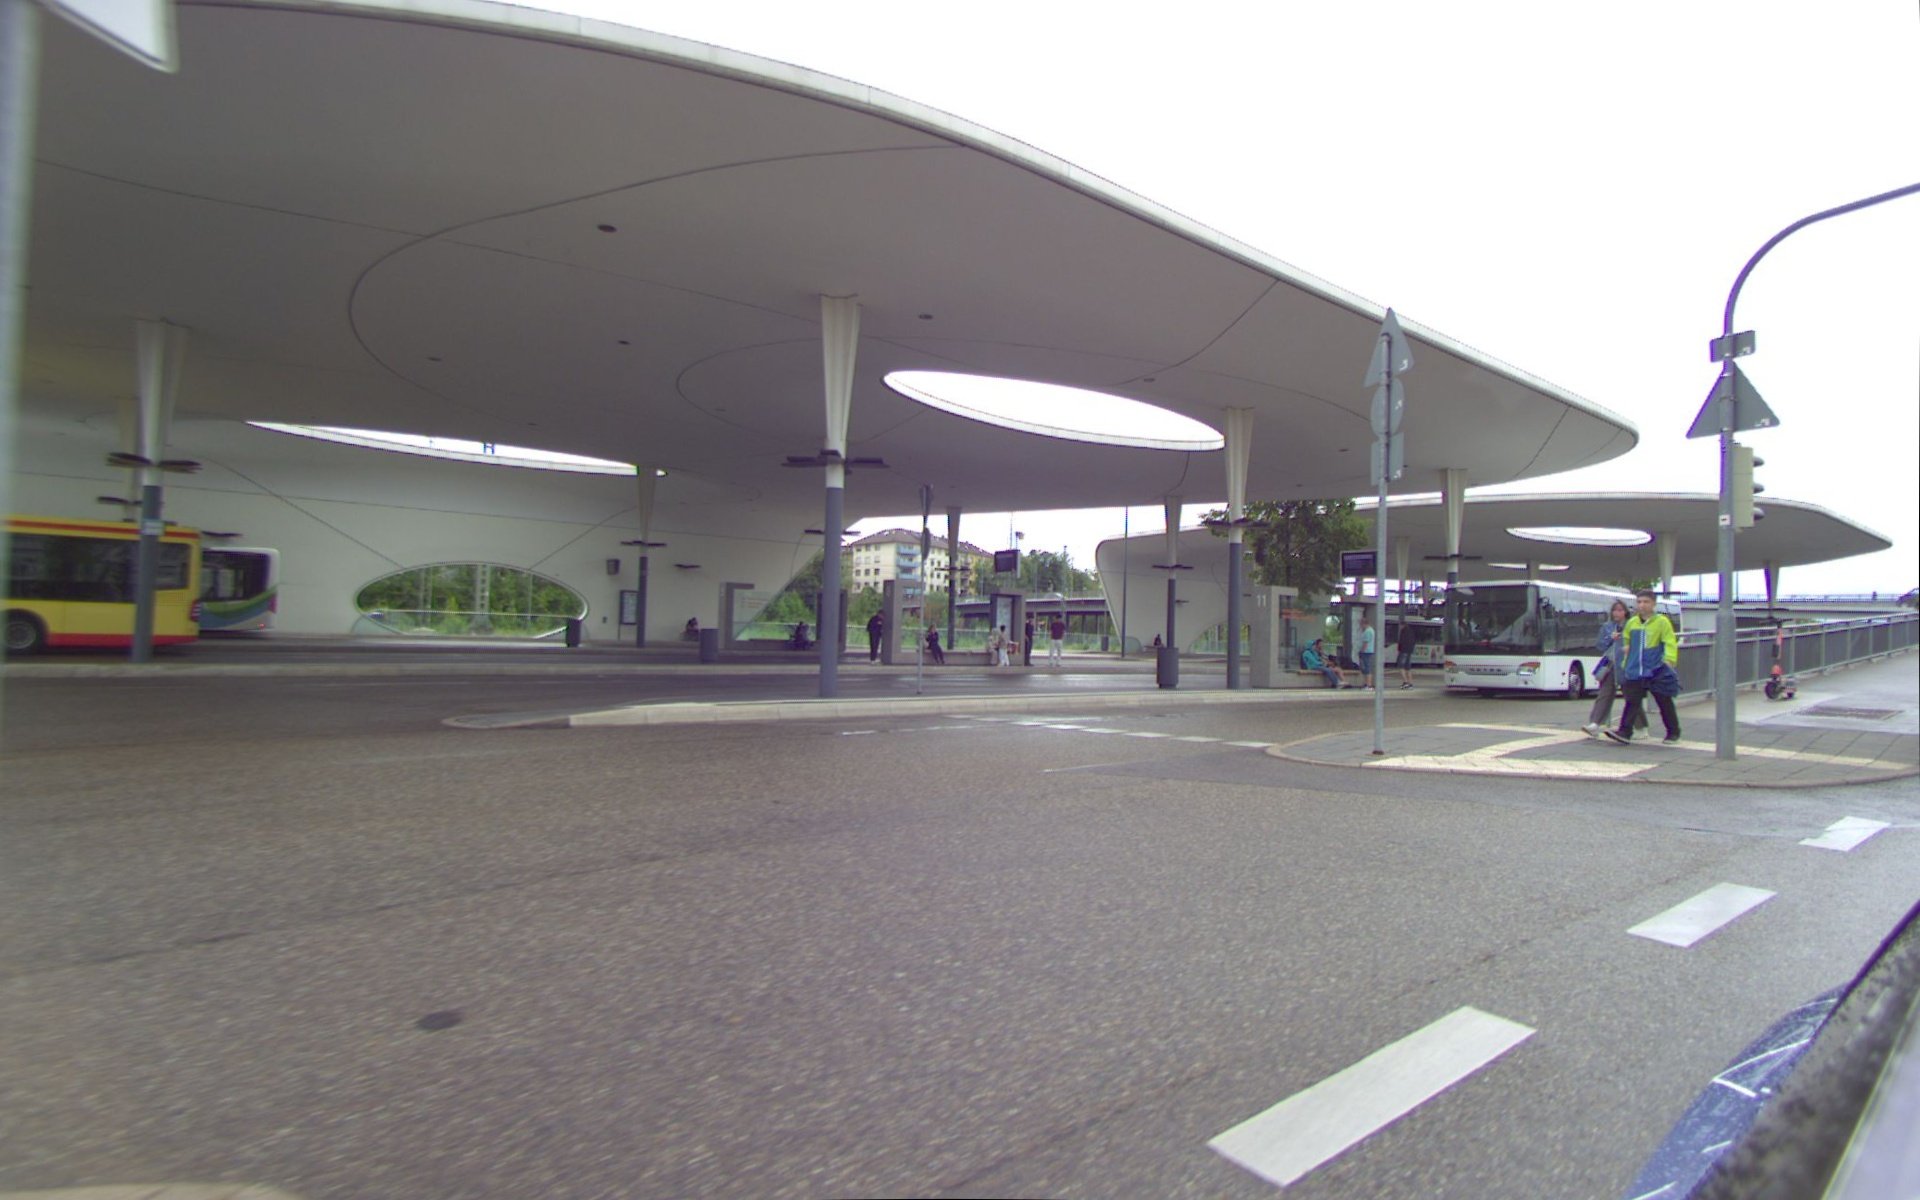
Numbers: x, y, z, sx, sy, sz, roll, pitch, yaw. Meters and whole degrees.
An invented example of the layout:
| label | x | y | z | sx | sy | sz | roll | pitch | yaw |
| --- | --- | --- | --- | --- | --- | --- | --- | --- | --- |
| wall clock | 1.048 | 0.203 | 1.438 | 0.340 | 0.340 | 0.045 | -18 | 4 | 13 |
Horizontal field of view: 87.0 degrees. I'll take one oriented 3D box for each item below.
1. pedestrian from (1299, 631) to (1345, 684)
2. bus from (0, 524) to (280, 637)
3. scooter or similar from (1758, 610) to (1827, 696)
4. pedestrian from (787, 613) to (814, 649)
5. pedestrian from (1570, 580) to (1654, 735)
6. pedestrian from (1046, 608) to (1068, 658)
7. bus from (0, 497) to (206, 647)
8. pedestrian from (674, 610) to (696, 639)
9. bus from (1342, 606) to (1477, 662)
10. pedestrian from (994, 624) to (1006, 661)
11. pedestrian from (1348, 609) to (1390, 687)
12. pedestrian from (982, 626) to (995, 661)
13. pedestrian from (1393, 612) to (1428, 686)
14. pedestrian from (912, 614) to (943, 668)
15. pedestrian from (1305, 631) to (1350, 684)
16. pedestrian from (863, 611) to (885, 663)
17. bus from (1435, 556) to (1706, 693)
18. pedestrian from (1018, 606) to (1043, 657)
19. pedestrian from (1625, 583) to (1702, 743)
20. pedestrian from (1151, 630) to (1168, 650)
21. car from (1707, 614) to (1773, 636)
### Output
| label | x | y | z | sx | sy | sz | roll | pitch | yaw |
| --- | --- | --- | --- | --- | --- | --- | --- | --- | --- |
| pedestrian | 9.305 | 1.471 | 26.004 | 0.944 | 1.271 | 0.642 | 4 | -1 | 28 |
| bus | -28.140 | -0.599 | 31.138 | 11.752 | 3.298 | 2.472 | 1 | 1 | -39 |
| scooter or similar | 12.648 | 0.786 | 15.355 | 1.826 | 1.236 | 0.464 | 2 | -1 | -39 |
| pedestrian | -6.166 | 1.189 | 39.085 | 0.785 | 1.342 | 0.712 | -2 | -2 | -31 |
| pedestrian | 7.485 | 0.643 | 11.620 | 0.570 | 1.691 | 0.590 | -2 | -1 | -39 |
| pedestrian | 3.295 | 1.110 | 34.457 | 0.633 | 1.675 | 0.637 | 2 | -1 | 12 |
| bus | -23.833 | -0.699 | 21.800 | 11.925 | 3.299 | 2.793 | 2 | -1 | -41 |
| pedestrian | -12.991 | 1.160 | 47.761 | 0.786 | 1.342 | 0.711 | -1 | -2 | -35 |
| bus | 29.000 | 2.217 | 64.824 | 11.920 | 3.299 | 2.795 | 2 | -1 | -39 |
| pedestrian | 1.275 | 1.360 | 32.239 | 0.357 | 1.159 | 0.395 | 2 | -1 | 3 |
| pedestrian | 10.347 | 1.205 | 25.615 | 0.635 | 1.910 | 0.587 | 5 | -1 | -29 |
| pedestrian | 0.911 | 1.373 | 32.272 | 0.345 | 1.094 | 0.392 | 2 | -1 | 3 |
| pedestrian | 12.172 | 1.320 | 27.338 | 0.640 | 1.928 | 0.583 | 4 | -1 | 16 |
| pedestrian | -1.009 | 1.265 | 31.040 | 0.666 | 1.610 | 0.588 | -1 | -3 | -43 |
| pedestrian | 9.692 | 1.507 | 26.697 | 0.944 | 1.271 | 0.642 | 4 | -1 | 28 |
| pedestrian | -2.539 | 1.090 | 30.007 | 0.513 | 1.521 | 0.380 | 2 | -1 | 12 |
| bus | 18.438 | 1.005 | 29.977 | 12.198 | 3.407 | 2.850 | 4 | -6 | -39 |
| pedestrian | 2.351 | 1.065 | 33.939 | 0.546 | 1.675 | 0.571 | 3 | -1 | -33 |
| pedestrian | 7.700 | 0.667 | 11.080 | 0.570 | 1.691 | 0.523 | -1 | -1 | -39 |
| pedestrian | 13.654 | 2.761 | 69.316 | 0.698 | 1.342 | 0.801 | -1 | -2 | -33 |
| car | 74.216 | 2.381 | 96.309 | 2.078 | 1.993 | 4.676 | 2 | -3 | -41 |
